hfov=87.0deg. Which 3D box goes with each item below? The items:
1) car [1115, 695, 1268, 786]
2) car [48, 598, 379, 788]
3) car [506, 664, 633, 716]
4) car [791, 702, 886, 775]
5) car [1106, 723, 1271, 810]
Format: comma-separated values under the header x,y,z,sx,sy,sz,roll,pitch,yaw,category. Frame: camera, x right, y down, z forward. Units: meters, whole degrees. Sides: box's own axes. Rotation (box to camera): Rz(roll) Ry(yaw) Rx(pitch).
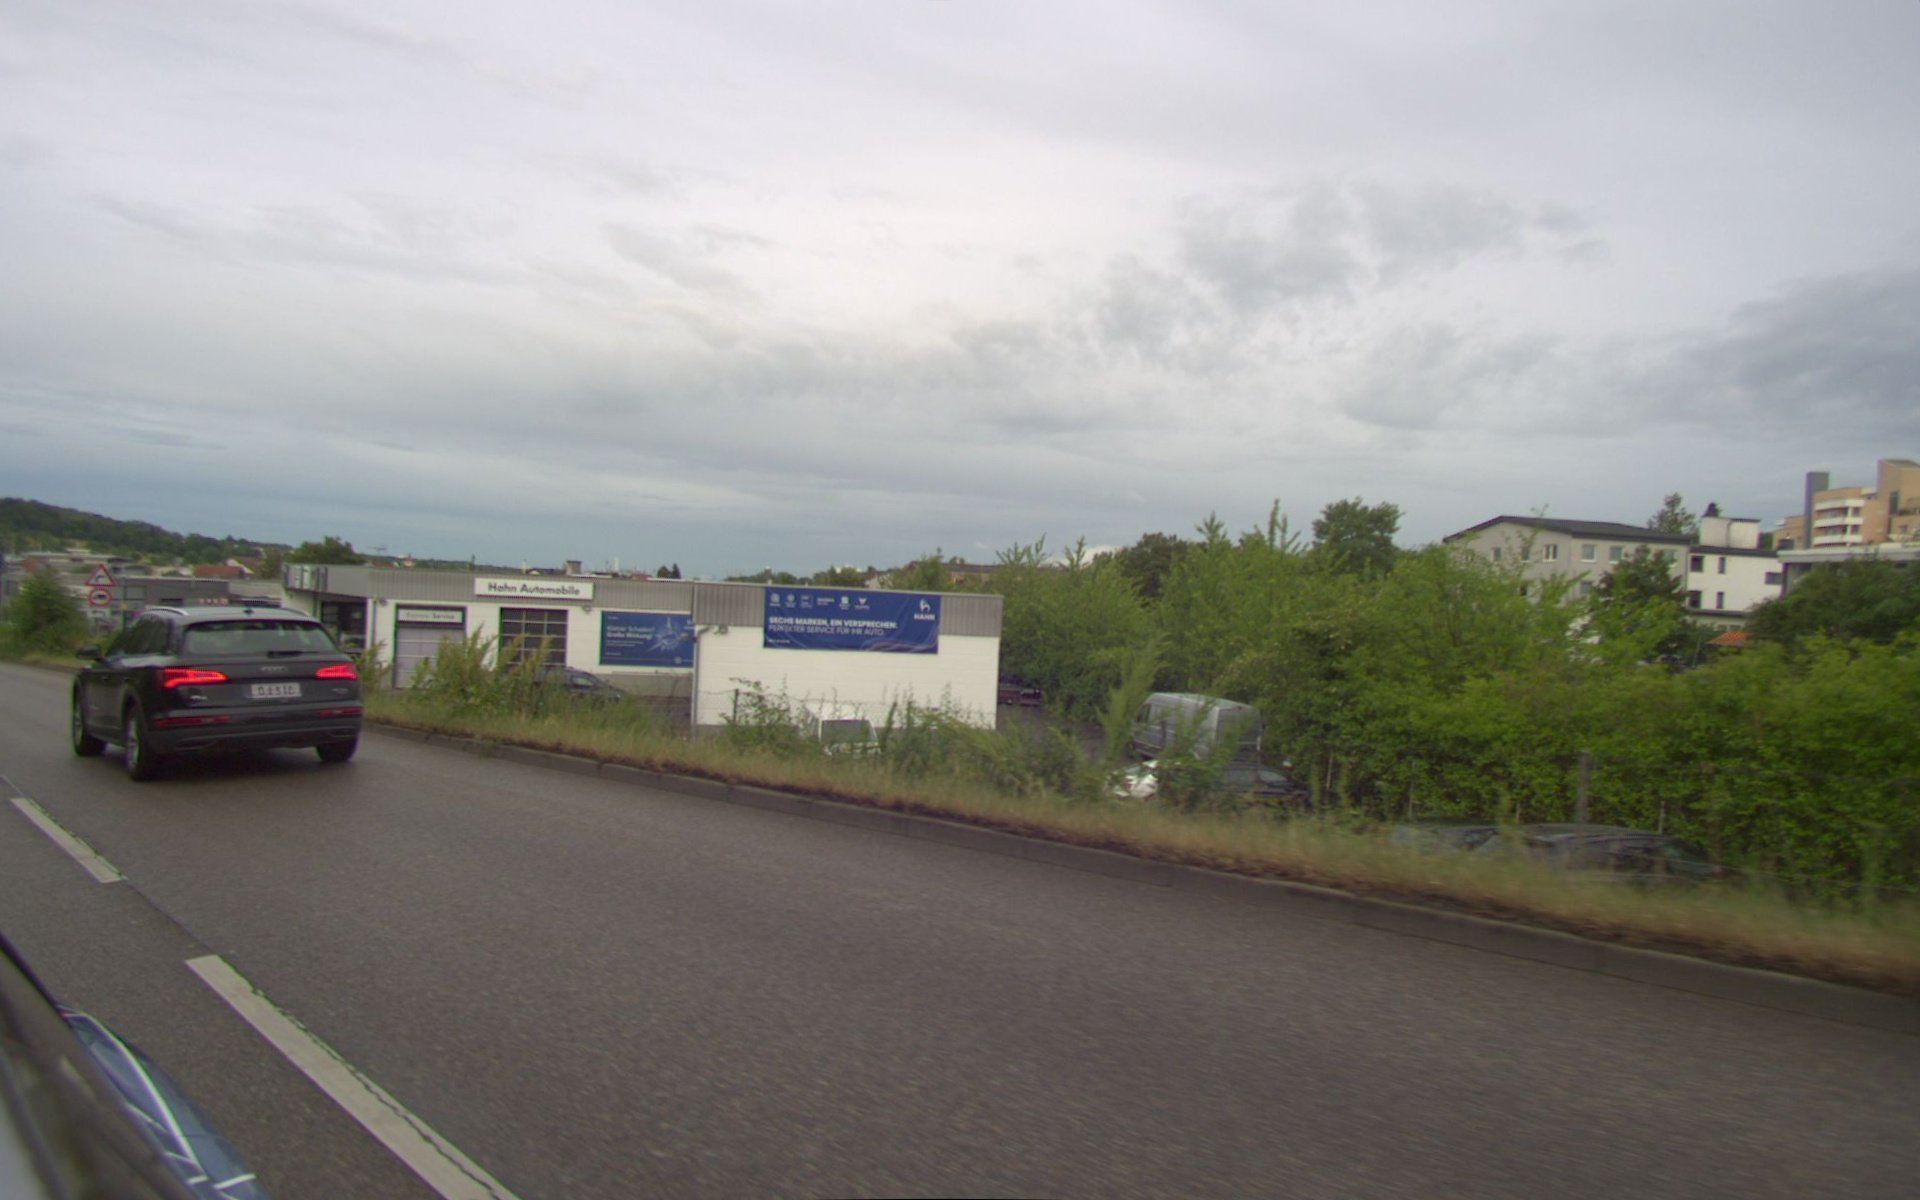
x,y,z,sx,sy,sz,roll,pitch,yaw,category
7.703,4.657,34.559,1.951,2.480,6.615,4,-4,-17,car
-8.010,0.839,10.706,4.411,1.598,1.850,-1,-2,40,car
-16.157,3.749,42.105,4.565,1.817,1.872,5,-6,-11,car
-3.724,4.066,30.220,1.836,1.817,4.655,5,-6,-18,car
5.540,4.056,25.233,1.836,1.705,4.655,5,-6,-18,car
